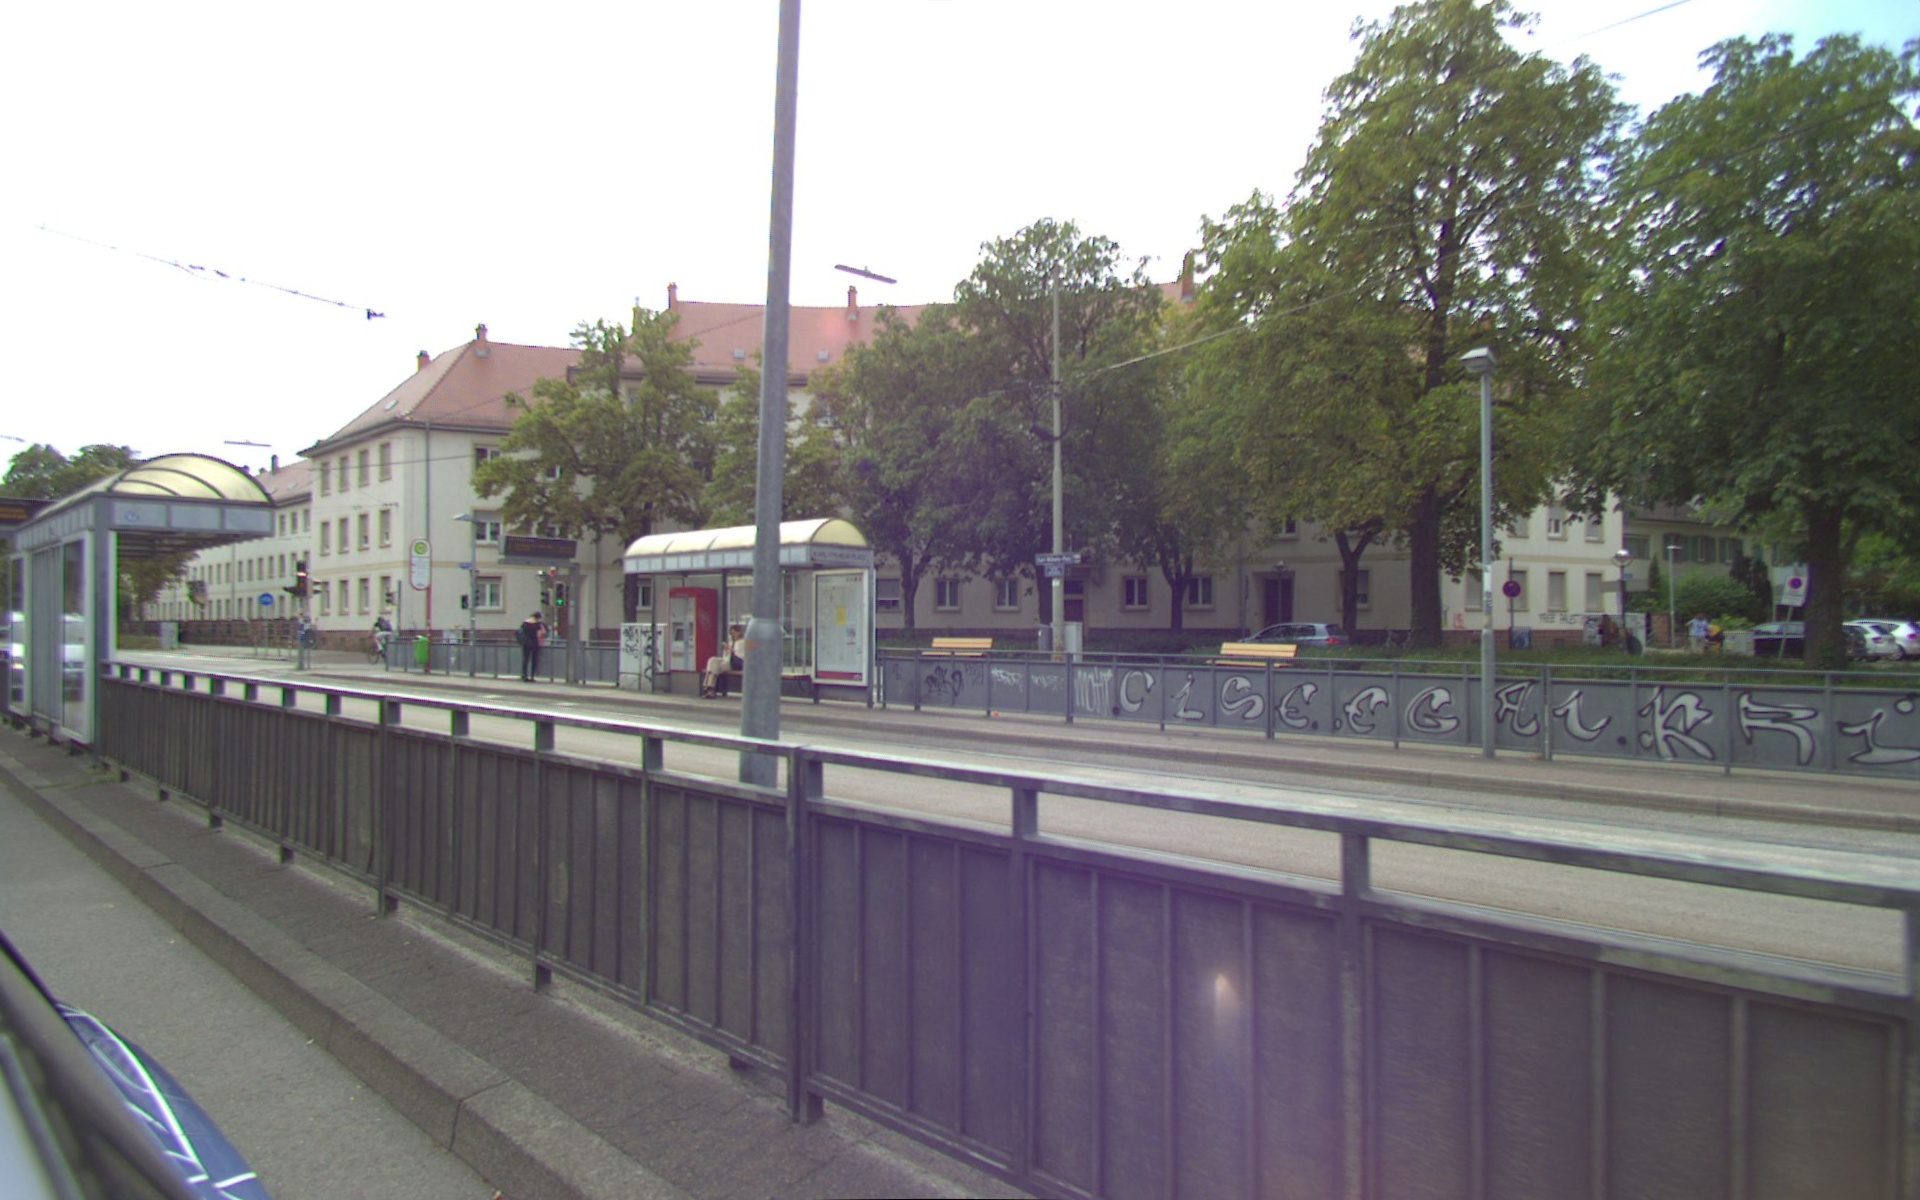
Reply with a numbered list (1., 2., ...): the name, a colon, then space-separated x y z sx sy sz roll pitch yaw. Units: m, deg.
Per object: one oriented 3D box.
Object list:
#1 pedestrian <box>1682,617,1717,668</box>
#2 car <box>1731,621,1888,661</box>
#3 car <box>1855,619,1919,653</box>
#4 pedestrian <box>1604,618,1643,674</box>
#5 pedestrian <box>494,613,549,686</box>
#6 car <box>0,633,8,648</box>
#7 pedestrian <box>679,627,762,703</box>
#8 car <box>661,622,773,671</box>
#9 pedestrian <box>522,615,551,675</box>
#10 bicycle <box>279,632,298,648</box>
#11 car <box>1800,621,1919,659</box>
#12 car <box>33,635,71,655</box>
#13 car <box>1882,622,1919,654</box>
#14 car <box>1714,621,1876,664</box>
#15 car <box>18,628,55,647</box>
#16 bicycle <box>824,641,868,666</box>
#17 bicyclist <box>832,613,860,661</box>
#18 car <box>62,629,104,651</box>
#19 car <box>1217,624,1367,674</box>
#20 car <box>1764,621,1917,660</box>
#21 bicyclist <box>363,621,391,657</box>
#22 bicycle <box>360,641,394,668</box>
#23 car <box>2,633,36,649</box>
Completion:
1. pedestrian: 25.666 1.477 35.142 0.720 1.767 0.685 1 -2 -28
2. car: 31.164 1.481 37.259 1.784 1.406 4.013 1 -2 -27
3. car: 40.251 1.490 42.179 1.784 1.406 4.013 1 -2 -27
4. pedestrian: 21.236 1.470 32.396 0.740 1.767 0.735 1 -2 -31
5. pedestrian: -10.109 1.128 23.350 0.841 1.633 0.844 -1 -2 36
6. car: -100.026 4.215 104.658 4.295 1.481 1.680 -1 -2 39
7. pedestrian: -4.235 1.127 17.953 0.984 1.303 1.049 -1 -2 36
8. car: -9.437 1.812 39.554 4.092 1.734 1.844 2 -1 -9
9. pedestrian: -13.899 1.476 33.211 0.720 1.915 0.838 1 -2 -31
10. bicycle: -38.823 2.331 58.484 1.671 0.922 0.472 -2 -3 41
11. car: 35.753 1.542 39.626 1.784 1.406 4.013 1 -2 -27
12. car: -70.021 3.462 77.992 4.297 1.434 1.679 -2 -1 41
13. car: 42.543 1.628 43.422 1.784 1.406 4.013 1 -2 -27
14. car: 29.352 1.470 35.724 1.784 1.406 4.013 1 -2 -27
15. car: -78.561 3.195 86.075 4.297 1.624 1.767 -2 -3 41
16. bicycle: -4.346 2.041 38.562 1.561 0.944 0.605 -1 -2 14
17. bicyclist: -4.334 1.408 38.583 0.902 1.789 0.609 -1 -2 14
18. car: -63.590 2.878 73.389 4.297 1.434 1.679 -2 1 41
19. car: 11.211 1.619 34.372 2.178 1.590 4.353 1 -2 -42
20. car: 33.367 1.505 38.472 1.784 1.406 4.013 1 -2 -27
21. bicyclist: -21.954 1.463 38.123 0.835 1.350 0.654 -2 -2 41
22. bicycle: -21.954 2.038 38.101 1.549 0.956 0.654 -1 -2 41
23. car: -85.623 3.714 92.063 4.295 1.482 1.680 -2 -3 39
